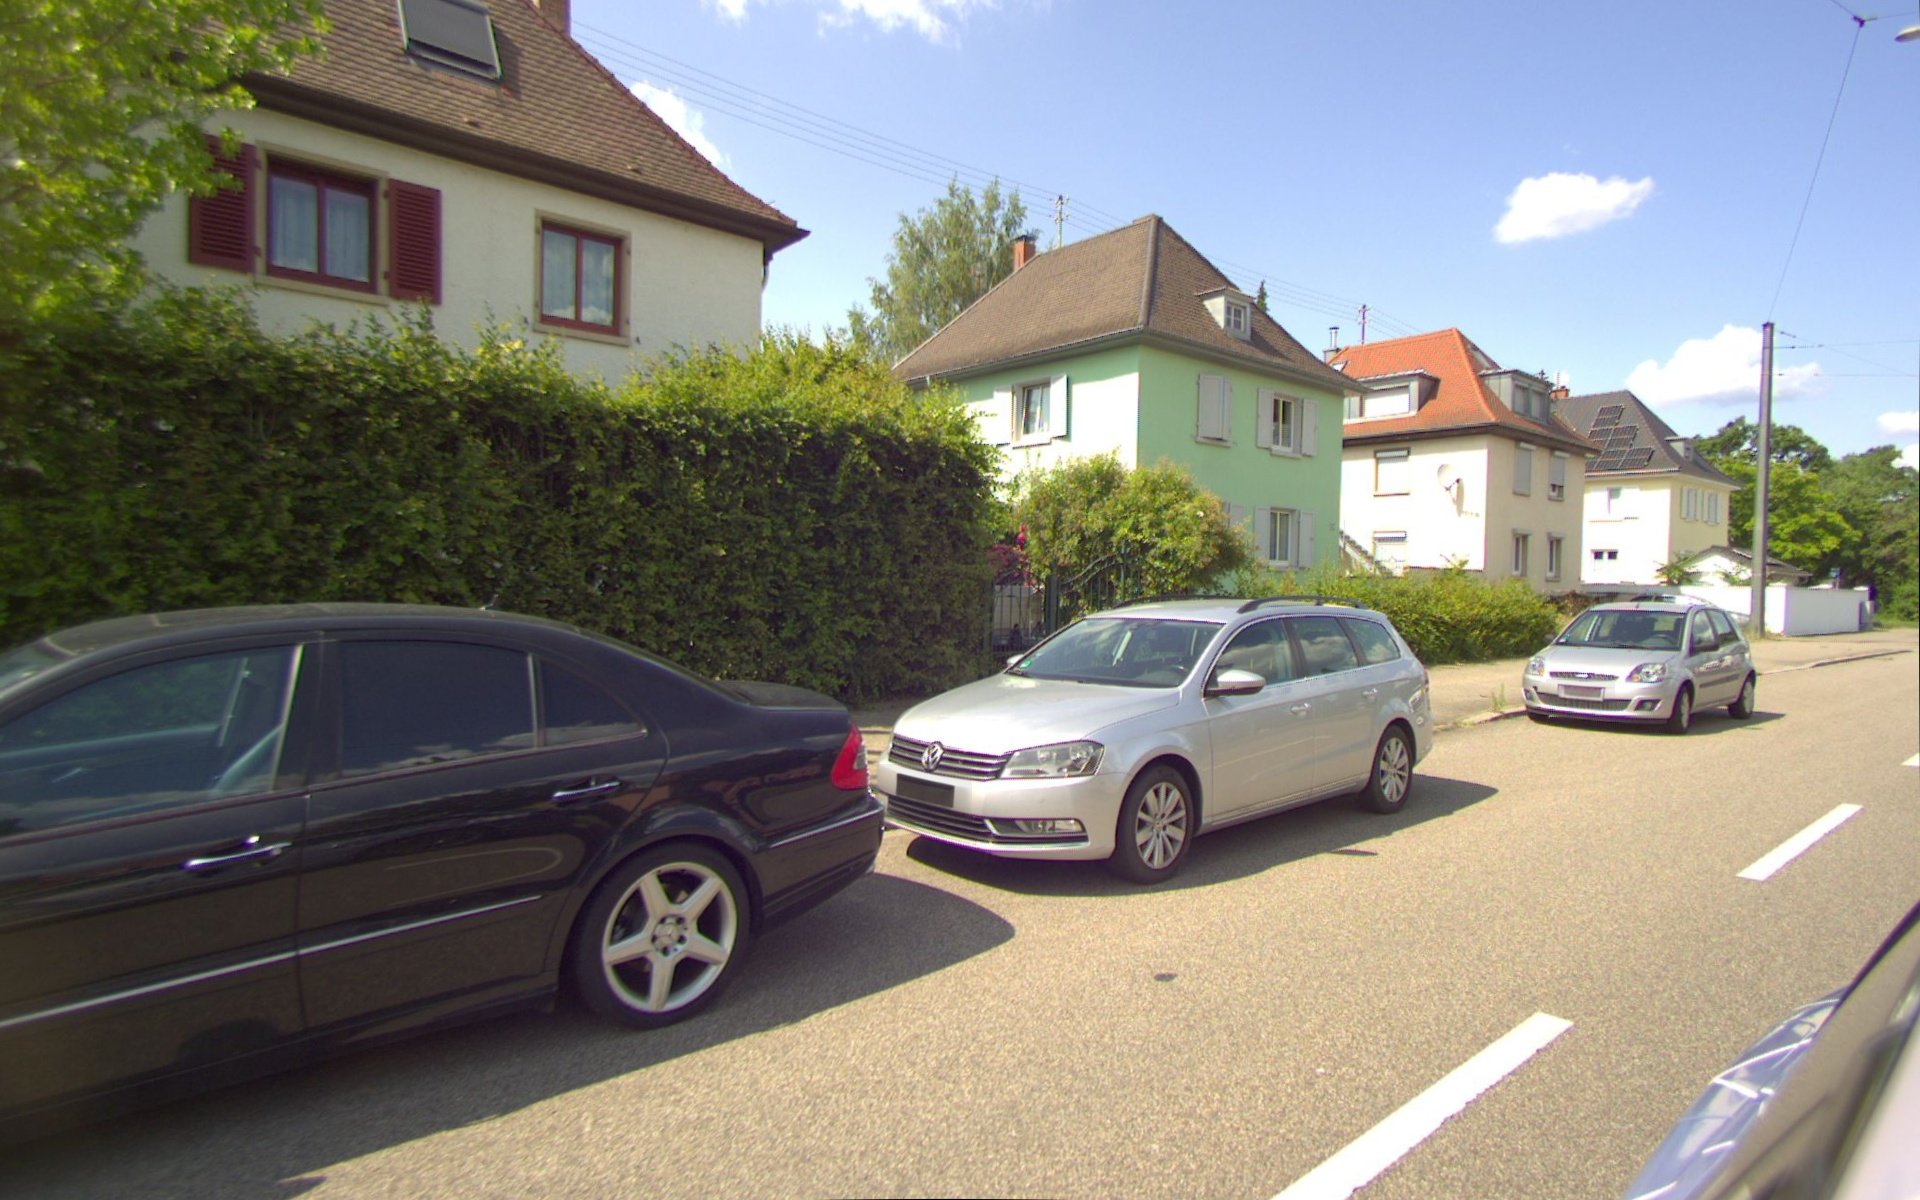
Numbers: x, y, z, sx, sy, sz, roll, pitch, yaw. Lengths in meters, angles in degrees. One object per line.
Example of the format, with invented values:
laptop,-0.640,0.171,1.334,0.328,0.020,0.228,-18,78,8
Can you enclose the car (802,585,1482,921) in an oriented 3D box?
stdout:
car,1.536,0.651,6.830,4.920,1.473,1.893,-1,1,-42

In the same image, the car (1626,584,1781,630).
car,28.443,0.235,38.830,1.731,1.479,4.462,0,3,-38

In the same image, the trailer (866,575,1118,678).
trailer,0.365,0.321,16.177,1.643,1.343,4.258,0,2,-39

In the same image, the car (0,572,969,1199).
car,-2.455,0.665,3.276,4.969,1.462,1.903,0,0,-41

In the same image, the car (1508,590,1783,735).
car,8.634,0.645,12.635,4.020,1.508,1.741,-1,1,-39
